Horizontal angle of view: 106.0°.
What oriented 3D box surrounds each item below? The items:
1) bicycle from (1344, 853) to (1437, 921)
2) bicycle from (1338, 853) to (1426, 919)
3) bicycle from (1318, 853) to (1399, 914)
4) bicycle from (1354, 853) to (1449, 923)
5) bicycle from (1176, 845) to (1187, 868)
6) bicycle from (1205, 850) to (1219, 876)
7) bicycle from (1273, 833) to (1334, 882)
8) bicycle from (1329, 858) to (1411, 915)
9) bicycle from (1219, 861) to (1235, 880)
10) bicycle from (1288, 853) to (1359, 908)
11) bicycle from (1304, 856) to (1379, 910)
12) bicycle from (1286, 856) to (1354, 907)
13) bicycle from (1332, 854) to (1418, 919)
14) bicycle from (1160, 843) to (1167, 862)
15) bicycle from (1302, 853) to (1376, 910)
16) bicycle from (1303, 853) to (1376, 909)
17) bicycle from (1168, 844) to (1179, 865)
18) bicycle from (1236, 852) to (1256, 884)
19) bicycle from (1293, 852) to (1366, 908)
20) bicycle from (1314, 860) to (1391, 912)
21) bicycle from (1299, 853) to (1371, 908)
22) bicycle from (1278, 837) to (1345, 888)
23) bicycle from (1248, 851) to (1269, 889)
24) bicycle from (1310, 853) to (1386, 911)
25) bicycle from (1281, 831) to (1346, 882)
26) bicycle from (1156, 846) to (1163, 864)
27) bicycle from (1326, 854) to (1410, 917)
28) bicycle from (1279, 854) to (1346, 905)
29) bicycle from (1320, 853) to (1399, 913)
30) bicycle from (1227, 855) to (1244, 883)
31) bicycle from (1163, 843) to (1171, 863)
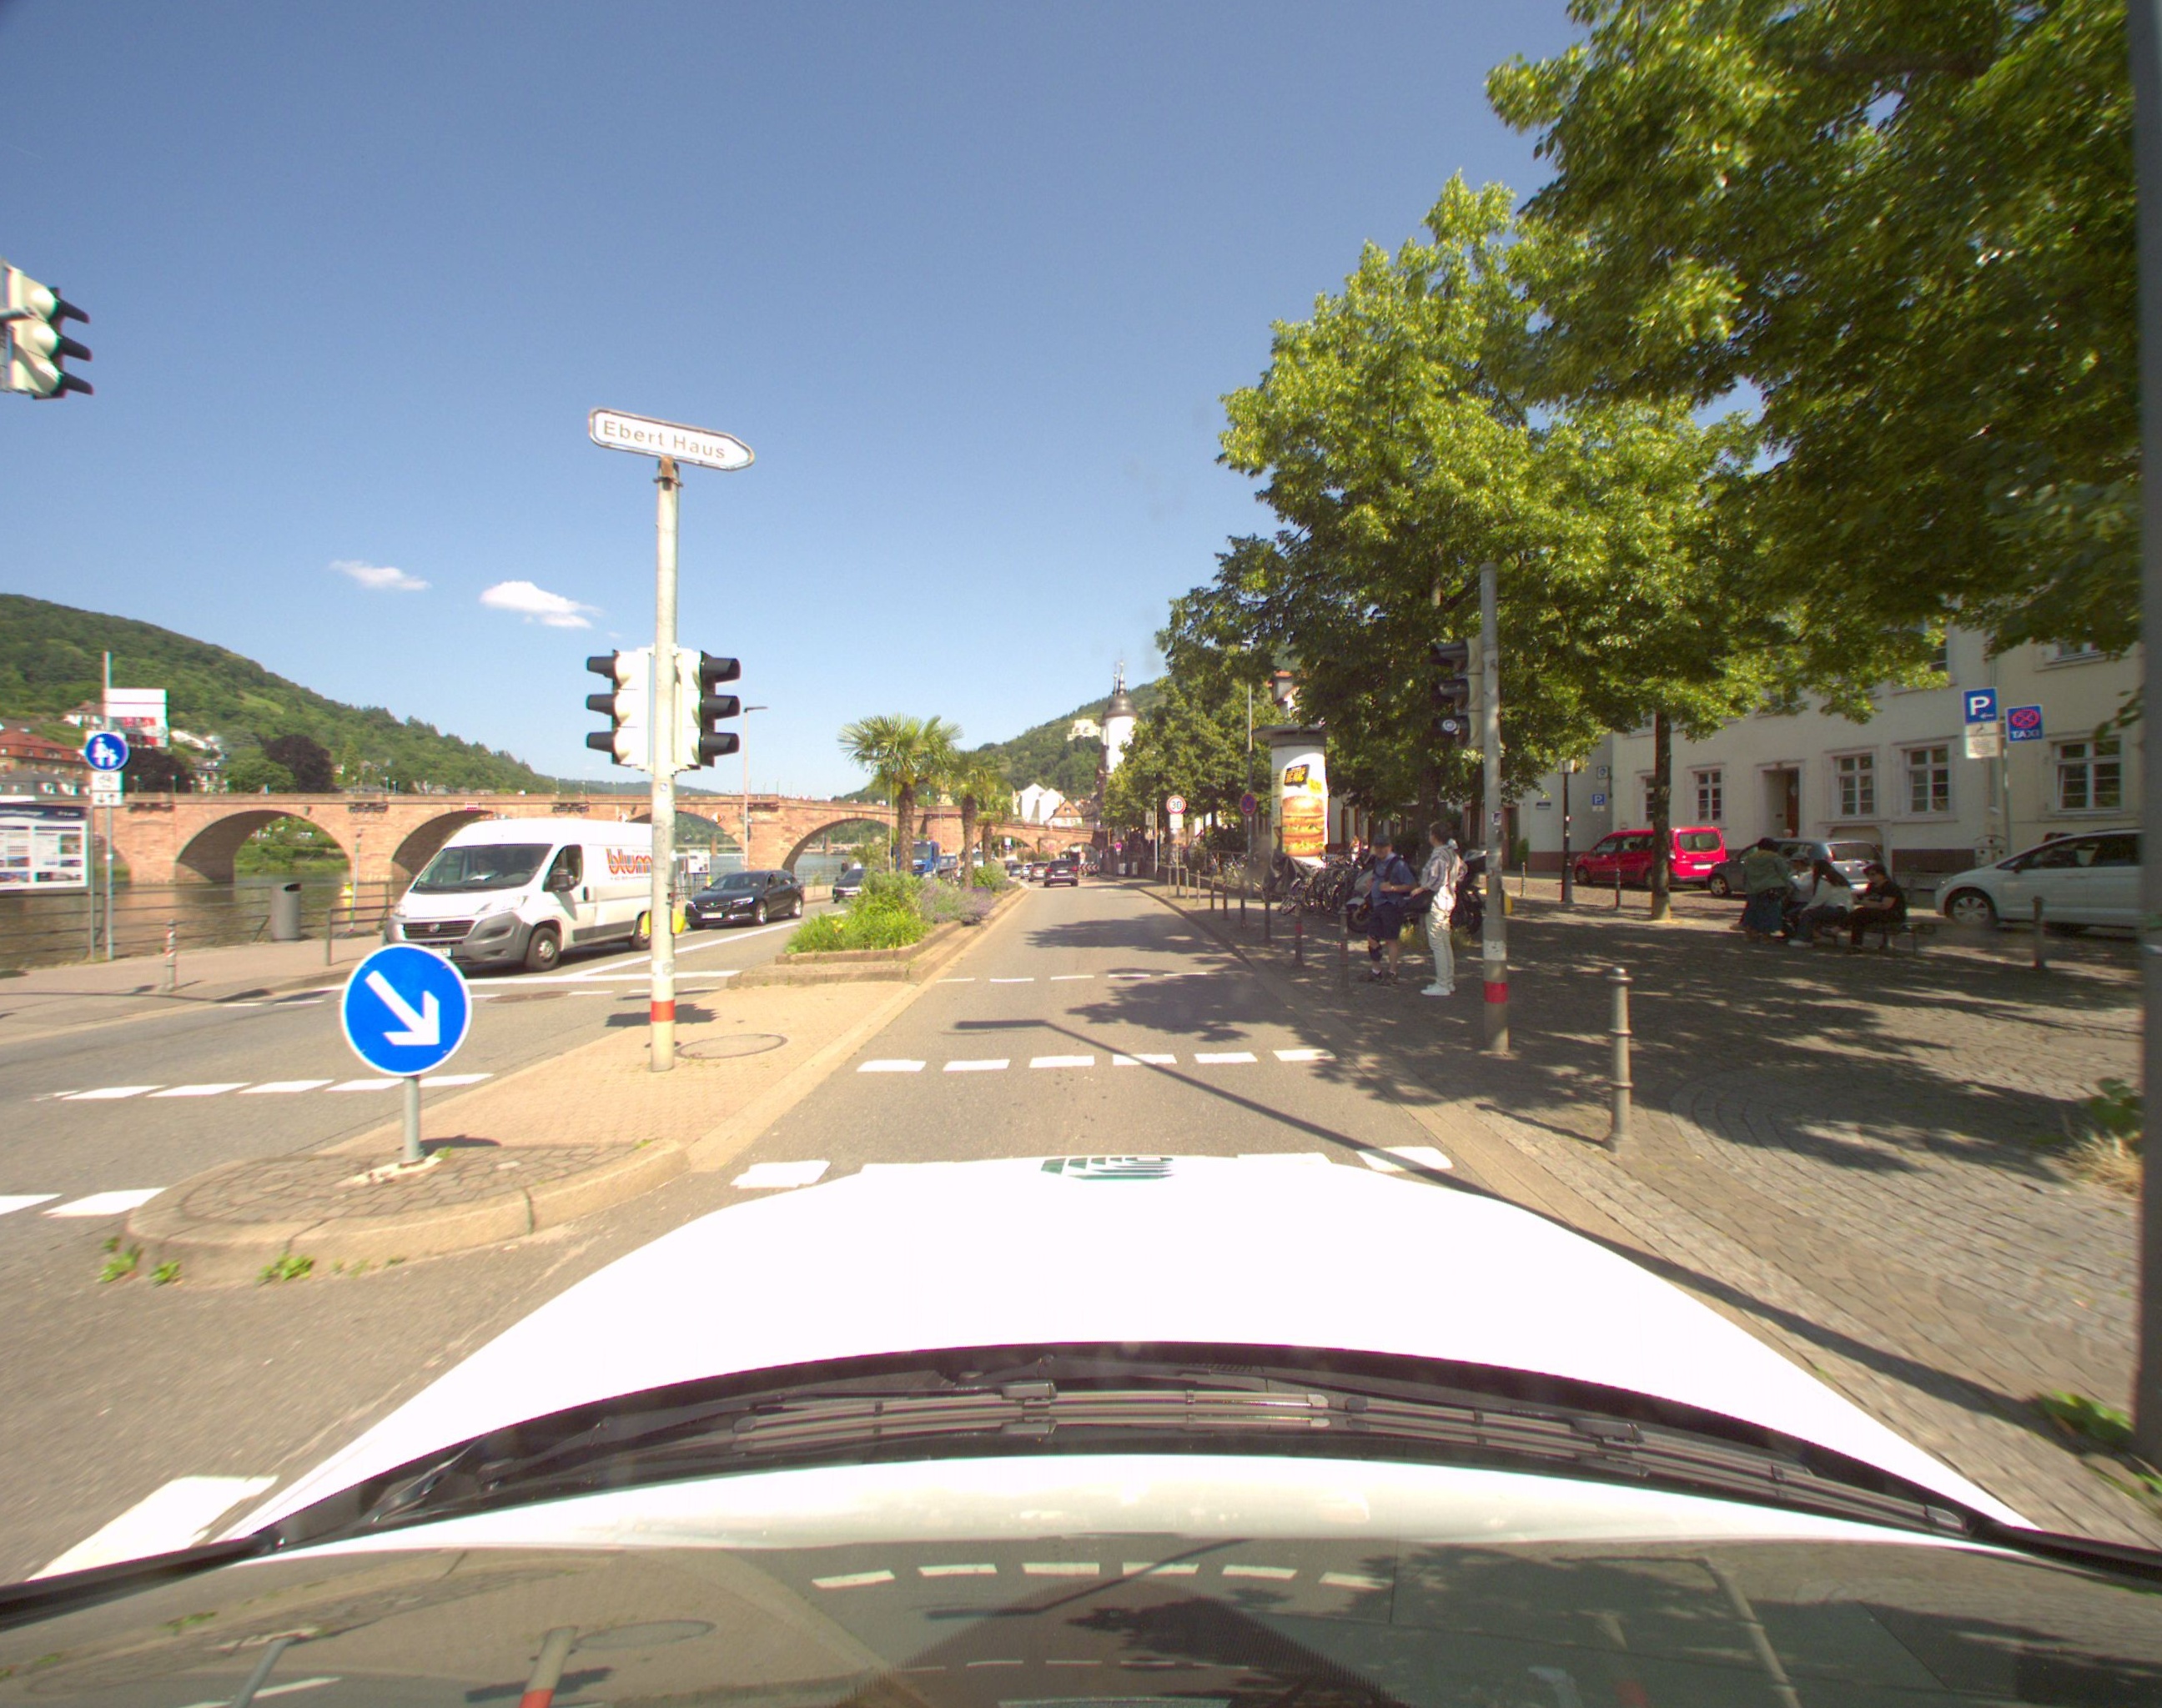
[{"bbox_3d":[5.386,0.560,14.176,1.482,1.120,0.377,-2,0,-7],"label":"bicycle"},{"bbox_3d":[5.424,0.560,14.675,1.482,1.120,0.293,-2,0,-7],"label":"bicycle"},{"bbox_3d":[5.382,0.563,15.796,1.482,1.120,0.250,-2,0,-7],"label":"bicycle"},{"bbox_3d":[5.420,0.565,13.795,1.480,1.120,0.294,-2,0,-3],"label":"bicycle"},{"bbox_3d":[4.926,0.140,39.922,0.344,1.096,1.488,1,0,-1],"label":"bicycle"},{"bbox_3d":[5.203,0.334,32.316,0.249,1.000,1.487,1,0,-2],"label":"bicycle"},{"bbox_3d":[6.941,0.093,25.401,1.825,1.483,0.285,-1,0,-3],"label":"bicycle"},{"bbox_3d":[5.514,0.609,15.558,1.482,1.031,0.293,-2,0,-7],"label":"bicycle"},{"bbox_3d":[5.230,0.586,29.272,0.249,0.664,1.468,-1,0,-2],"label":"bicycle"},{"bbox_3d":[5.372,0.584,18.047,1.482,1.120,0.250,-3,0,-7],"label":"bicycle"},{"bbox_3d":[5.378,0.600,16.824,1.482,1.047,0.250,-2,0,-7],"label":"bicycle"},{"bbox_3d":[5.381,0.617,18.346,1.482,1.120,0.250,-1,0,-7],"label":"bicycle"},{"bbox_3d":[5.398,0.585,14.972,1.482,1.120,0.293,-2,0,-7],"label":"bicycle"},{"bbox_3d":[4.833,-0.103,47.822,0.249,1.096,1.488,1,0,-1],"label":"bicycle"},{"bbox_3d":[5.404,0.567,17.073,1.482,1.120,0.250,-2,0,-7],"label":"bicycle"},{"bbox_3d":[5.506,0.563,17.334,1.482,1.120,0.250,-2,0,-7],"label":"bicycle"},{"bbox_3d":[4.924,0.039,43.492,0.274,1.096,1.488,-5,0,-1],"label":"bicycle"},{"bbox_3d":[5.287,0.431,26.131,0.249,1.010,1.487,-1,0,-2],"label":"bicycle"},{"bbox_3d":[5.423,0.563,17.770,1.482,1.120,0.250,-3,0,-7],"label":"bicycle"},{"bbox_3d":[5.445,0.629,16.338,1.482,0.979,0.250,-2,0,-7],"label":"bicycle"},{"bbox_3d":[5.467,0.559,17.551,1.482,1.120,0.250,-2,0,-7],"label":"bicycle"},{"bbox_3d":[6.939,0.267,24.506,1.921,1.483,0.311,-1,0,-3],"label":"bicycle"},{"bbox_3d":[5.356,0.467,24.592,0.249,1.120,1.487,-1,0,-2],"label":"bicycle"},{"bbox_3d":[5.433,0.560,16.584,1.482,1.120,0.250,-2,0,-7],"label":"bicycle"},{"bbox_3d":[6.900,0.074,24.181,1.821,1.483,0.269,-1,0,-3],"label":"bicycle"},{"bbox_3d":[4.783,0.065,49.910,0.249,1.096,1.488,1,0,-1],"label":"bicycle"},{"bbox_3d":[5.381,0.581,15.262,1.482,1.120,0.293,-2,0,-7],"label":"bicycle"},{"bbox_3d":[5.305,0.576,18.662,1.482,1.132,0.250,-1,0,-7],"label":"bicycle"},{"bbox_3d":[5.490,0.568,16.069,1.482,1.120,0.250,-2,0,-7],"label":"bicycle"},{"bbox_3d":[5.252,0.501,27.719,0.249,0.904,1.487,-1,0,-2],"label":"bicycle"},{"bbox_3d":[4.860,-0.080,45.896,0.249,1.096,1.488,1,0,-1],"label":"bicycle"}]
